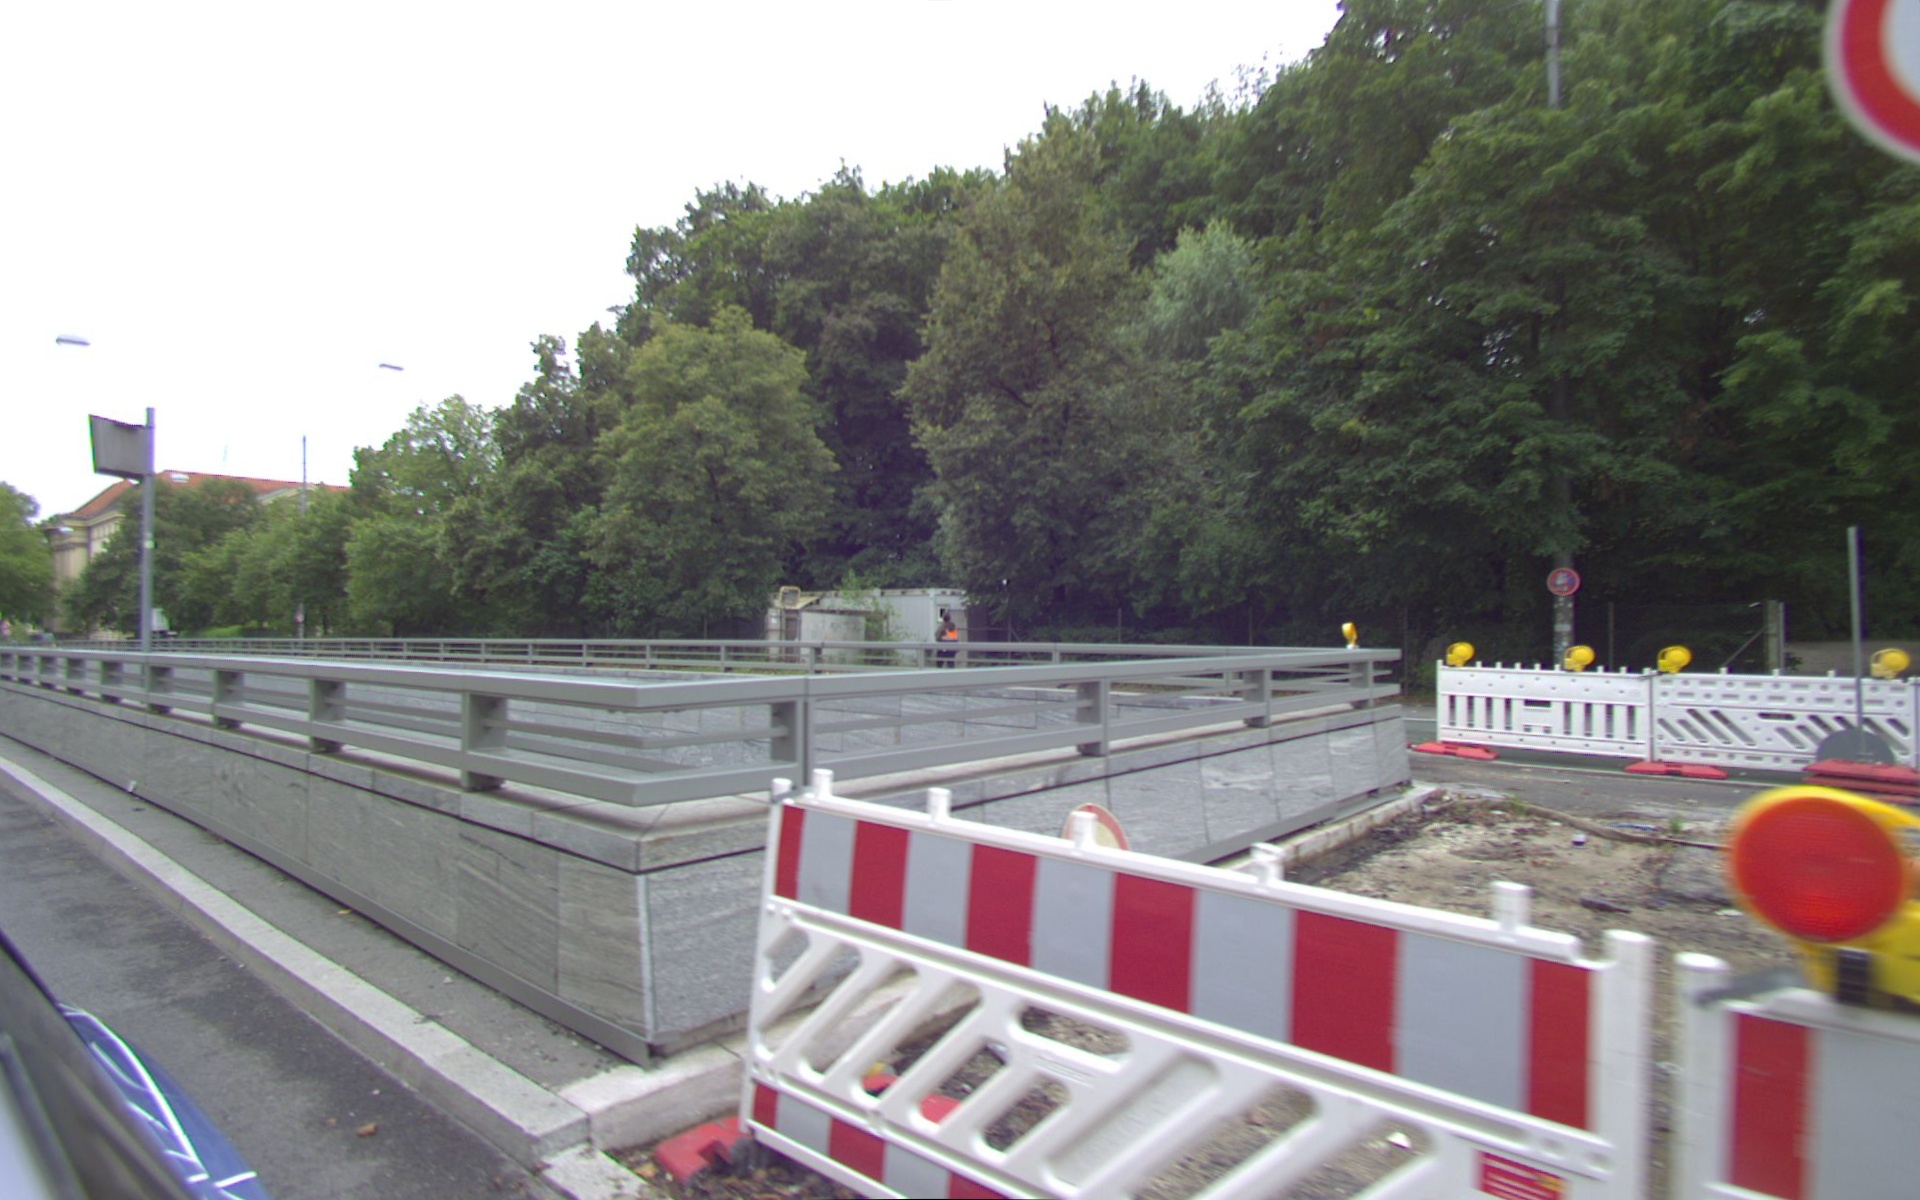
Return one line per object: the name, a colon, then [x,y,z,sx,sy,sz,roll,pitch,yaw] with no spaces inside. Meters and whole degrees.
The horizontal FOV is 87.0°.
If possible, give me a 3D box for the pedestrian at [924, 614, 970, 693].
pedestrian: [-0.276,1.125,21.669,0.698,1.653,0.656,-2,-2,42]
